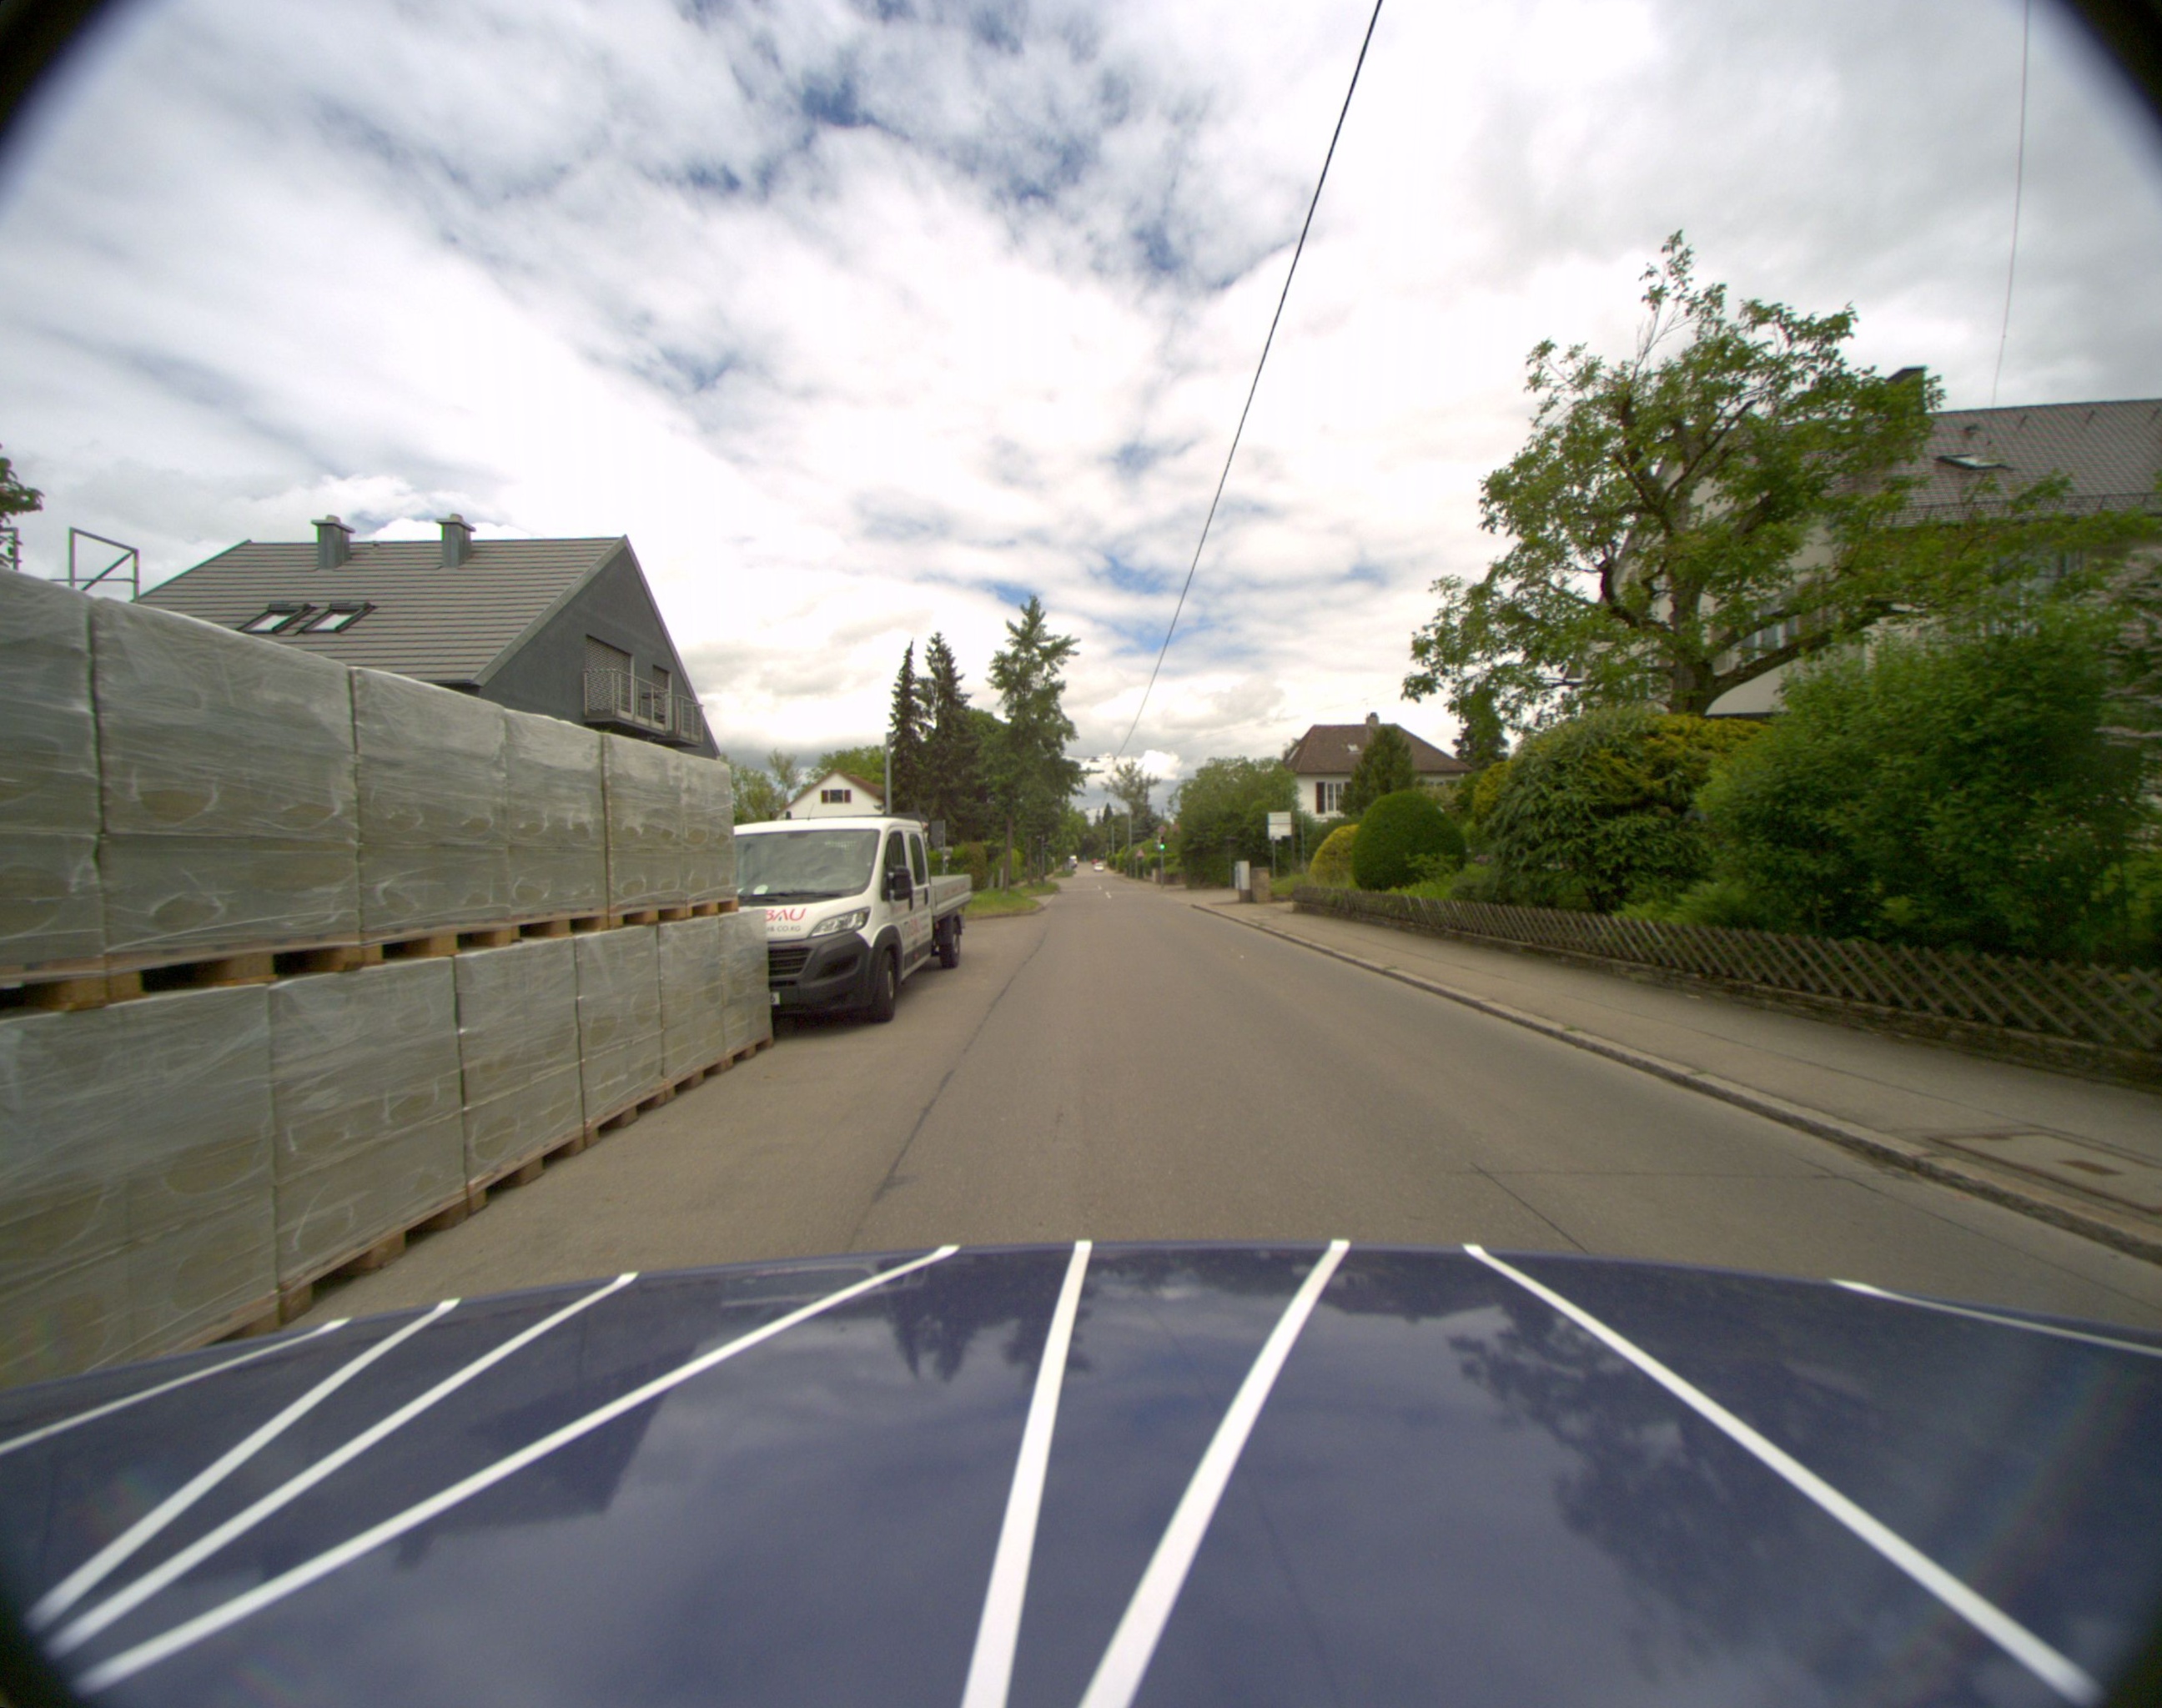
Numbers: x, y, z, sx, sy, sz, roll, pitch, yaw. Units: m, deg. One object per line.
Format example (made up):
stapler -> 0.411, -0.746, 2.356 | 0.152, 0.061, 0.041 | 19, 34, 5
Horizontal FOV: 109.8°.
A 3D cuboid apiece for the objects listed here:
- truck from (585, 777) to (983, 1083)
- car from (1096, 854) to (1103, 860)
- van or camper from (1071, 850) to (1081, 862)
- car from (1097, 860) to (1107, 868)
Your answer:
truck -> -2.954, 0.650, 10.048 | 2.193, 2.457, 7.430 | -2, 0, 0
car -> 4.987, 0.769, 203.997 | 1.810, 1.423, 4.118 | 2, 0, -1
van or camper -> -1.192, 0.493, 179.811 | 2.046, 2.605, 7.036 | -2, 1, -1
car -> 4.012, 1.941, 147.031 | 1.859, 1.442, 4.281 | 1, 0, -1
